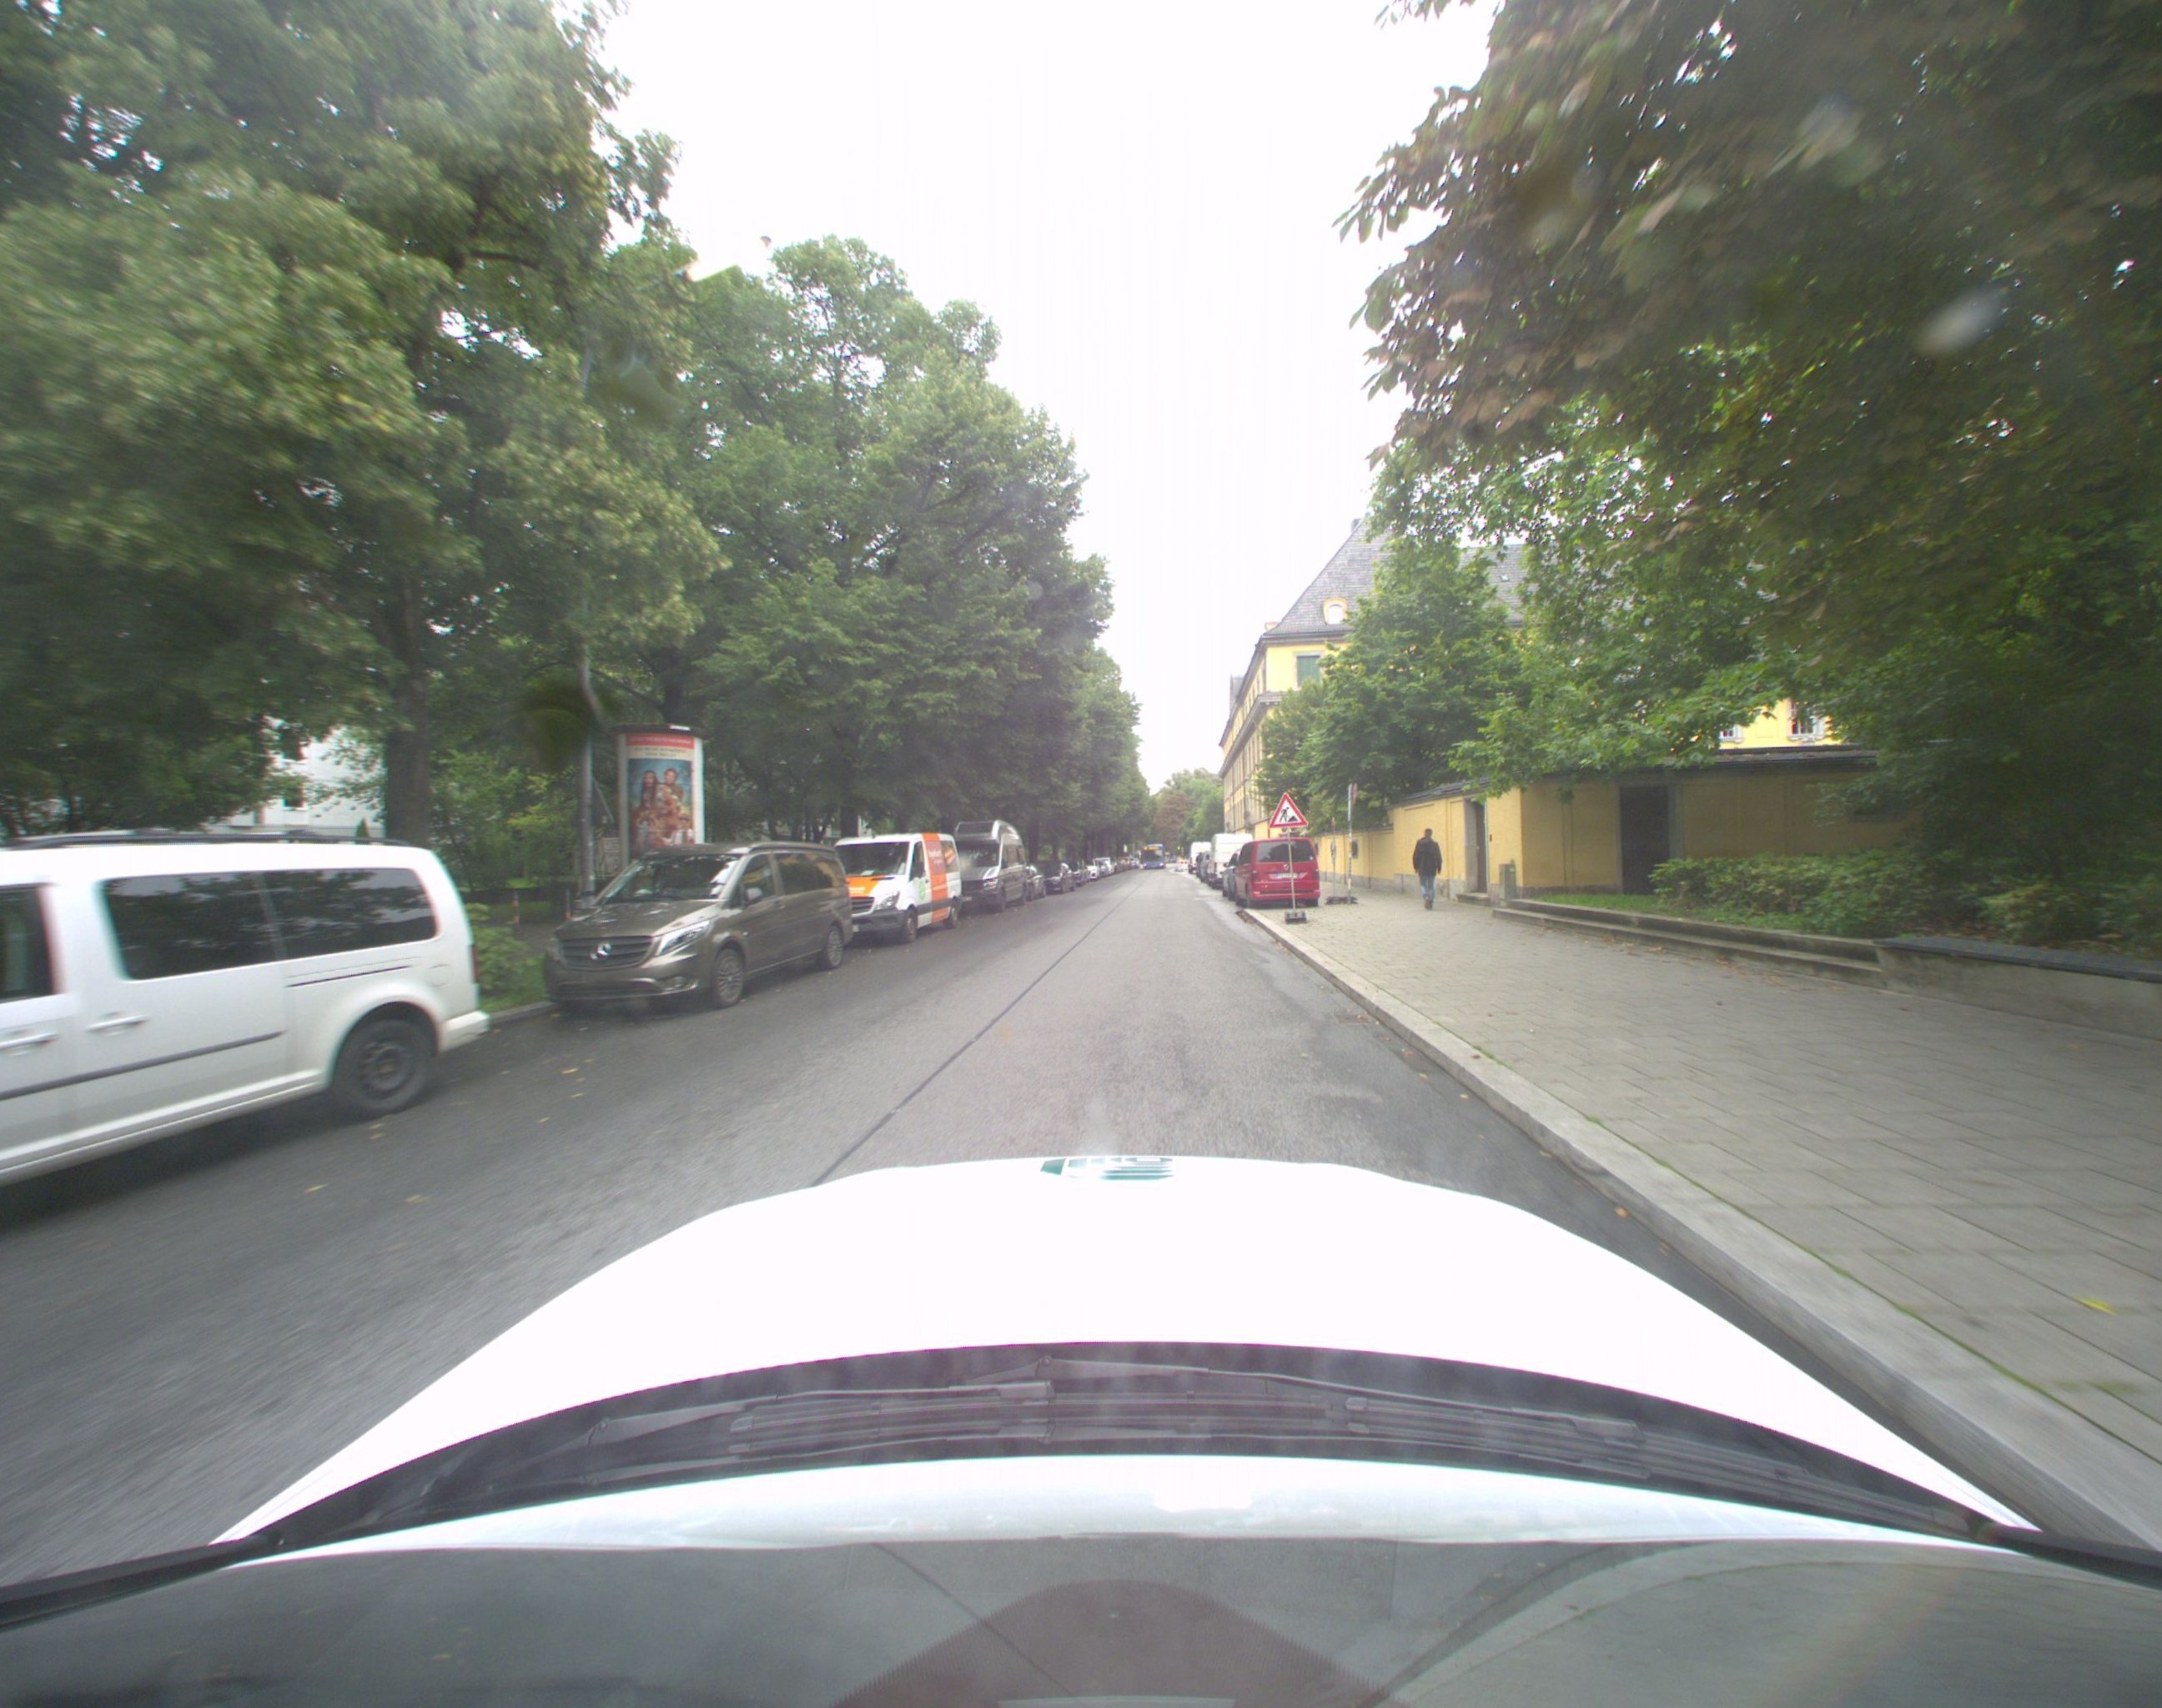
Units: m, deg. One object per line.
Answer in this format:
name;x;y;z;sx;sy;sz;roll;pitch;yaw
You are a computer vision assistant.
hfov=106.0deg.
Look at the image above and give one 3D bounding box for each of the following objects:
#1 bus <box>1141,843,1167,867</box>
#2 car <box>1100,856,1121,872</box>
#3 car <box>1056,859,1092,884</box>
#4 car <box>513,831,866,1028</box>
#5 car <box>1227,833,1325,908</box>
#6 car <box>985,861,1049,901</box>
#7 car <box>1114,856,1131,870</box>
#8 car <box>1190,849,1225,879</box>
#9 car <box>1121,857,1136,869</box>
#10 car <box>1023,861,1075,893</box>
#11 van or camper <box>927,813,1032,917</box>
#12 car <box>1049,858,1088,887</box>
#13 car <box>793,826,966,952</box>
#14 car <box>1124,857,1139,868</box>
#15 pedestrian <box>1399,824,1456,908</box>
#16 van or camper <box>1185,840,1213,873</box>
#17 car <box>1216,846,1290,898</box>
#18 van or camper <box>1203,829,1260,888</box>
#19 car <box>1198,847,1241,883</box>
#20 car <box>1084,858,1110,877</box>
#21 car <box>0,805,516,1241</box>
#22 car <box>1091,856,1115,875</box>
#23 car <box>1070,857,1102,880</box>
bus;9.564;0.128;105.343;2.698;2.899;14.583;-2;0;7
car;2.950;0.995;80.526;1.843;1.473;4.006;-2;0;6
car;-0.398;1.084;52.040;1.843;1.473;4.006;-2;0;6
car;-4.728;0.788;10.977;1.879;1.933;5.213;-3;0;4
car;5.470;0.443;23.460;1.981;1.839;4.720;-3;0;5
car;-2.508;1.047;32.819;1.865;1.416;4.006;-2;0;6
car;5.268;1.092;102.610;1.843;1.701;4.006;-2;0;6
car;8.497;0.680;55.139;1.981;1.844;4.328;-3;0;5
car;6.509;1.181;111.273;1.843;1.572;4.006;-2;0;6
car;-1.443;1.059;38.303;1.865;1.347;4.006;-2;0;6
van or camper;-3.157;0.337;26.865;1.991;2.945;6.020;-3;0;6
car;-0.666;1.031;46.928;1.844;1.473;4.005;-2;0;5
car;-4.183;0.674;17.955;1.937;2.272;5.251;-3;0;6
car;7.286;1.258;117.244;1.843;1.473;4.006;-2;0;6
pedestrian;7.947;0.268;18.727;0.869;1.831;1.054;-2;0;6
van or camper;10.232;0.210;70.968;2.105;2.732;5.252;-3;0;6
car;5.954;0.600;28.707;1.981;1.609;4.328;-3;0;5
van or camper;7.123;0.197;39.050;2.121;2.546;5.251;-3;0;6
car;7.824;0.603;46.222;1.981;1.844;4.328;-3;0;5
car;1.366;1.089;68.032;1.843;1.473;4.006;-2;0;6
car;-5.648;0.789;4.026;1.820;1.918;4.858;-3;0;7
car;2.000;1.008;73.722;1.843;1.564;4.006;-2;0;6
car;0.411;1.019;57.951;1.843;1.473;4.006;-2;0;6
